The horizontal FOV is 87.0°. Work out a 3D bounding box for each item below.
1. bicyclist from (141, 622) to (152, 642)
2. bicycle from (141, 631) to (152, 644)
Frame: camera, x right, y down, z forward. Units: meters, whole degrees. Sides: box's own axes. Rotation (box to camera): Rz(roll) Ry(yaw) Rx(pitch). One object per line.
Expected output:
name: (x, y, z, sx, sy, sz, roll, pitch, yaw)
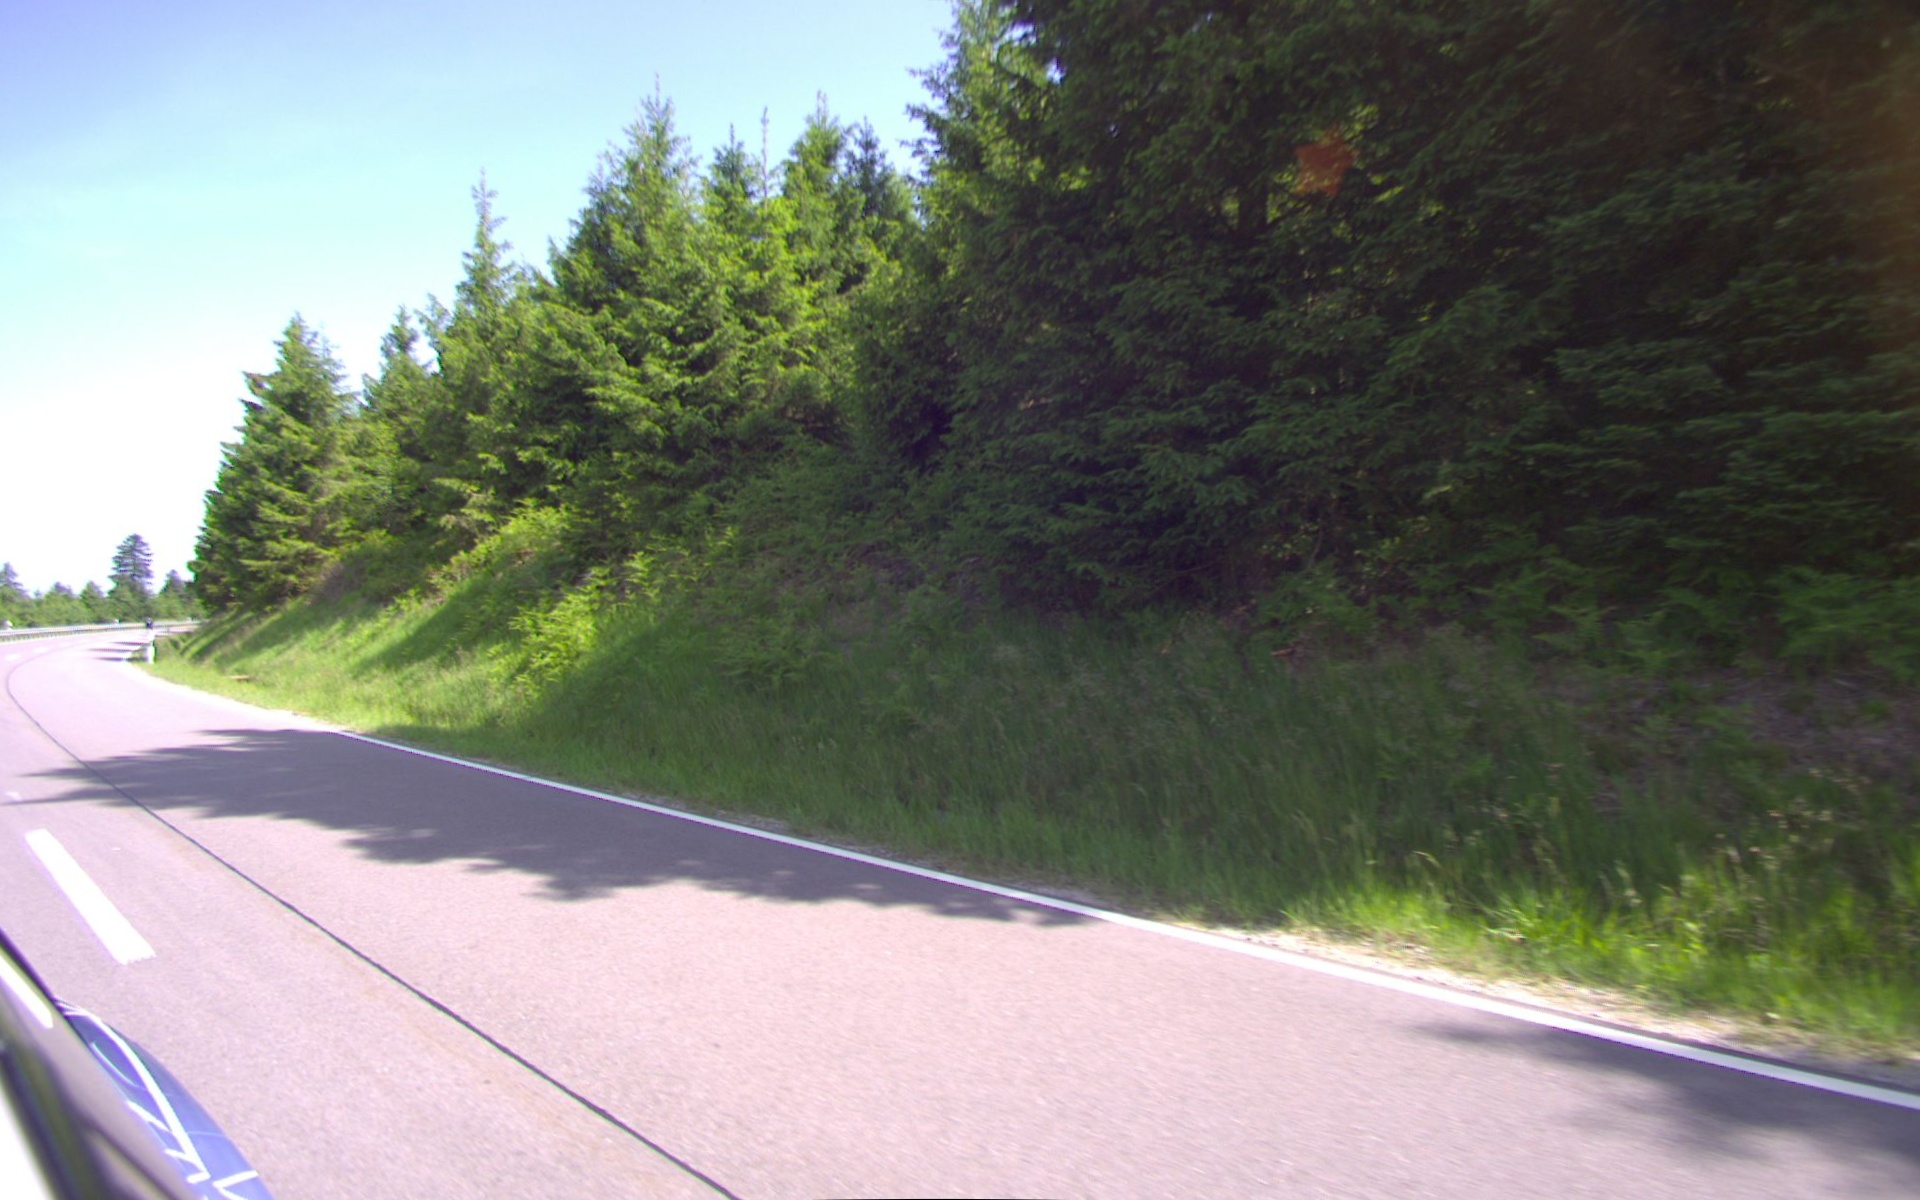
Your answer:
bicyclist: (-59.604, 2.311, 74.165, 0.534, 1.462, 0.985, 2, -2, -38)
bicycle: (-59.579, 2.740, 74.091, 0.546, 0.893, 2.066, 2, -2, -38)
